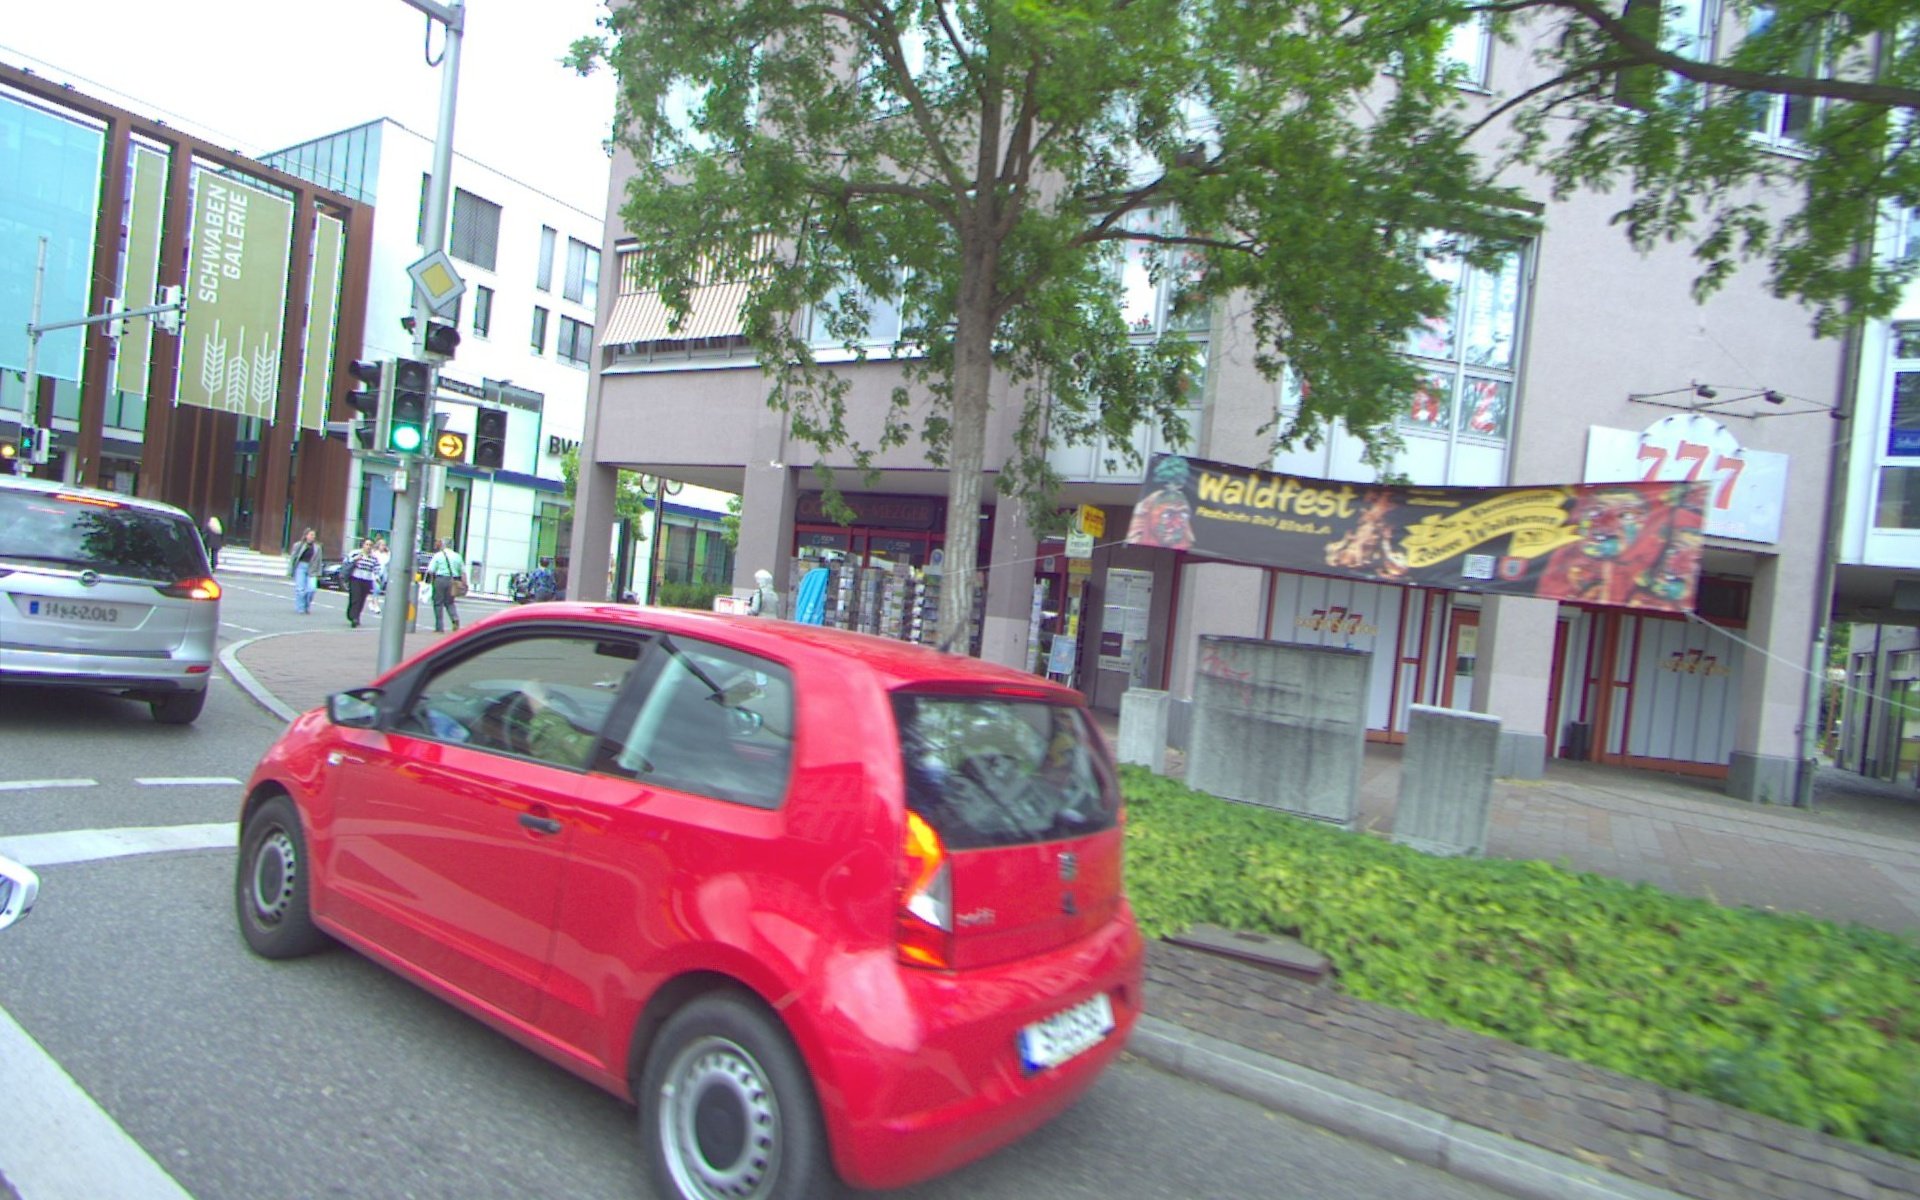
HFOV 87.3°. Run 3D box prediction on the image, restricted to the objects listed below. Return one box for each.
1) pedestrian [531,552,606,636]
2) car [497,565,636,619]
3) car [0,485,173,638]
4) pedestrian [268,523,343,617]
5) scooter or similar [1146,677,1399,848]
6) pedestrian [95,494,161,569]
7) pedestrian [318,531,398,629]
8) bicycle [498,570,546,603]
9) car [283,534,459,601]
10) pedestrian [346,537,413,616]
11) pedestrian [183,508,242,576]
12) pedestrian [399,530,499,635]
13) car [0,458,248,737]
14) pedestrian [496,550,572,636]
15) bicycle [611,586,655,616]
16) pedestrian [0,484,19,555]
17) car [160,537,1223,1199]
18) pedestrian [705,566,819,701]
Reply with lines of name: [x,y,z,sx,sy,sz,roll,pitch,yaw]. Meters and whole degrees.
pedestrian: [-8.133,-0.123,20.926,1.040,1.604,0.831,7,0,28]
car: [-14.403,-0.249,37.081,1.770,1.420,4.543,7,-1,31]
car: [-12.085,-0.591,13.335,1.839,1.628,4.822,9,-2,-31]
pedestrian: [-12.514,-0.571,19.238,0.937,1.647,0.742,7,1,30]
scooter or similar: [2.561,1.311,8.364,1.852,1.101,0.471,6,1,16]
pedestrian: [-21.704,-1.781,26.258,1.101,1.789,0.879,7,1,30]
pedestrian: [-10.904,-0.358,18.224,0.937,1.647,0.742,7,1,30]
bicycle: [-17.491,-0.542,40.147,1.960,1.115,0.719,7,0,33]
car: [-17.709,-0.933,30.452,1.770,1.420,4.181,7,-1,30]
pedestrian: [-13.034,-0.527,22.587,1.023,1.615,0.821,7,0,37]
pedestrian: [-21.668,-1.670,29.176,1.101,1.789,0.879,7,1,30]
pedestrian: [-9.278,-0.307,18.272,1.092,1.736,1.057,7,0,32]
car: [-7.448,-0.161,7.837,4.314,1.720,1.741,6,-2,37]
pedestrian: [-8.530,-0.127,20.151,0.952,1.578,0.831,7,0,29]
bicycle: [-14.584,0.041,44.830,1.960,1.115,0.719,7,0,33]
pedestrian: [-23.874,-2.032,24.588,1.101,1.702,0.879,7,1,30]
car: [-1.131,0.739,3.662,3.583,1.465,1.629,7,-2,33]
pedestrian: [-2.655,0.443,13.477,1.075,1.647,0.809,7,1,31]
